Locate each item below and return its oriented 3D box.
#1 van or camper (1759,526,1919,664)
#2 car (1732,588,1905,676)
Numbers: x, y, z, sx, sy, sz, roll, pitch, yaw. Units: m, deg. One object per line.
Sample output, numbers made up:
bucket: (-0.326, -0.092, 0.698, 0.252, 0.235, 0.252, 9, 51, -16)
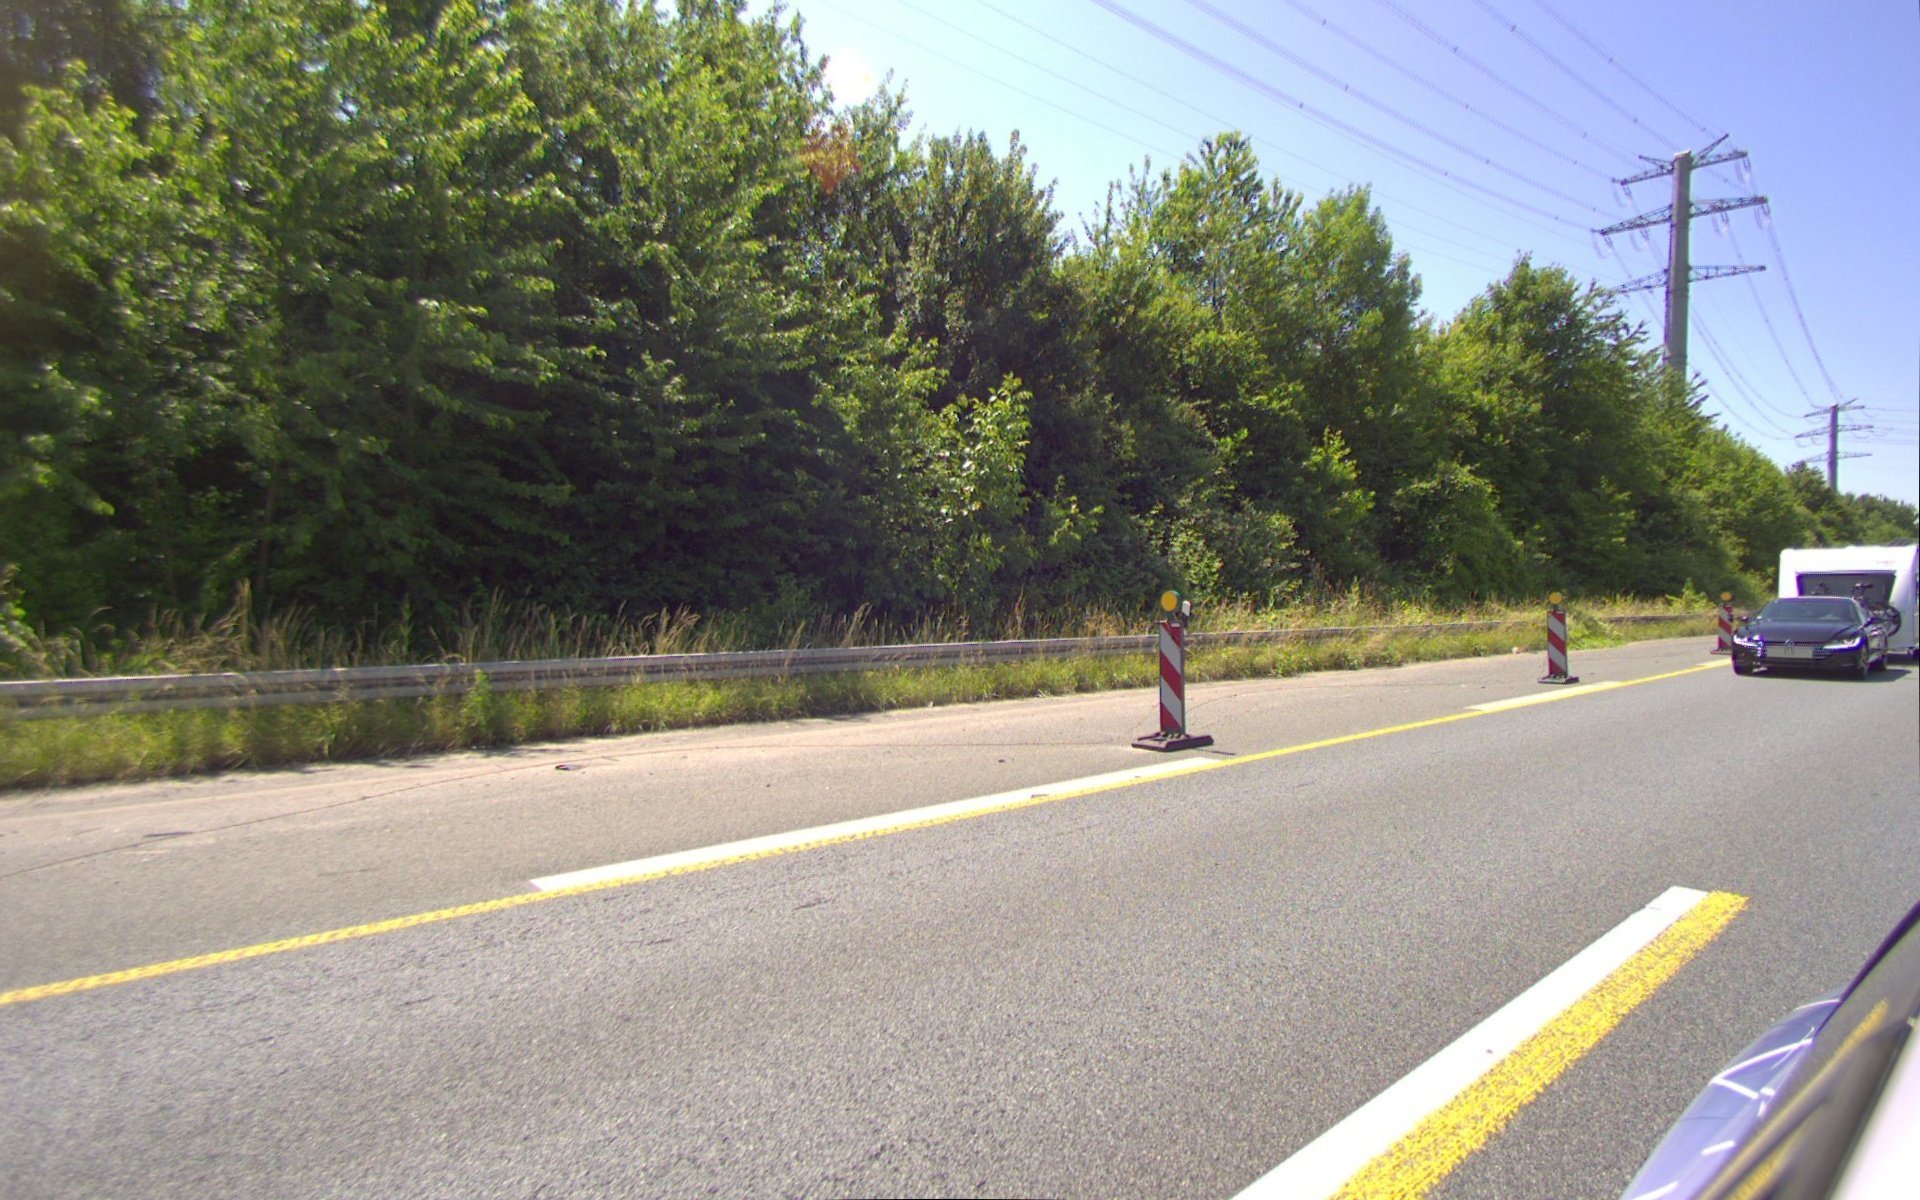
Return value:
van or camper: (20.385, -0.128, 22.648, 8.270, 2.597, 2.430, -1, 0, -41)
car: (15.750, 0.503, 18.501, 4.136, 1.425, 1.799, -1, 0, -41)
